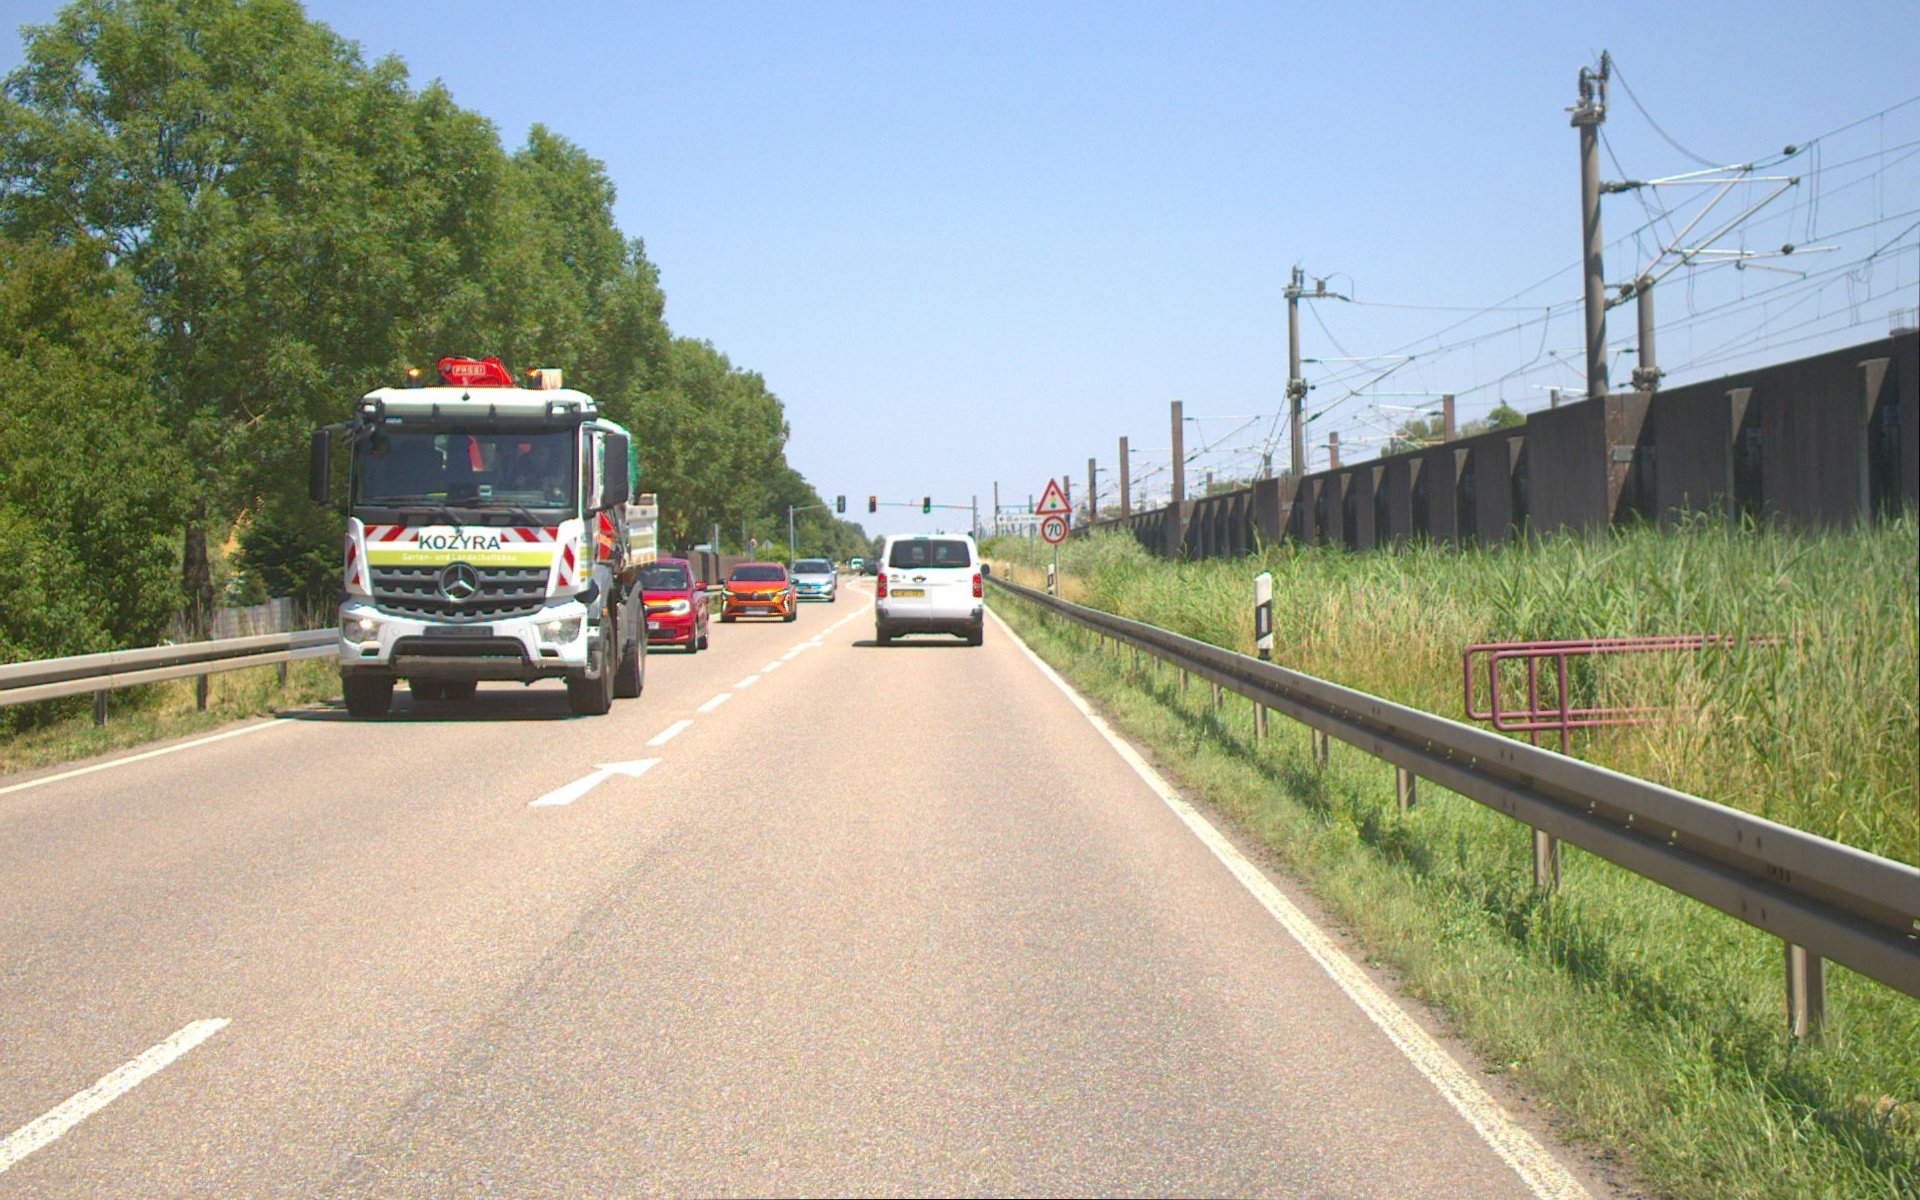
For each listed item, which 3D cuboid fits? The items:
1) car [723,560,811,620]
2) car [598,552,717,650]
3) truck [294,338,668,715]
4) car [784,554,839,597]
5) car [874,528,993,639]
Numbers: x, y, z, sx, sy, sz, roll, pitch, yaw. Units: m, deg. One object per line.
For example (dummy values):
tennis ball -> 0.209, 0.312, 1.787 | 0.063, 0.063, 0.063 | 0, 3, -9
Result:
car -> -4.656, -0.260, 83.372 | 1.789, 1.417, 4.000 | 0, 1, 2
car -> -4.922, -0.015, 56.381 | 1.652, 1.546, 4.000 | 0, 1, -1
truck -> -4.705, -0.732, 35.323 | 2.783, 3.393, 7.989 | 1, 1, -1
car -> -5.407, -0.913, 125.308 | 1.789, 1.520, 4.390 | 0, 1, 0
car -> -0.460, -0.305, 60.091 | 1.993, 1.843, 4.000 | 1, 1, 0
